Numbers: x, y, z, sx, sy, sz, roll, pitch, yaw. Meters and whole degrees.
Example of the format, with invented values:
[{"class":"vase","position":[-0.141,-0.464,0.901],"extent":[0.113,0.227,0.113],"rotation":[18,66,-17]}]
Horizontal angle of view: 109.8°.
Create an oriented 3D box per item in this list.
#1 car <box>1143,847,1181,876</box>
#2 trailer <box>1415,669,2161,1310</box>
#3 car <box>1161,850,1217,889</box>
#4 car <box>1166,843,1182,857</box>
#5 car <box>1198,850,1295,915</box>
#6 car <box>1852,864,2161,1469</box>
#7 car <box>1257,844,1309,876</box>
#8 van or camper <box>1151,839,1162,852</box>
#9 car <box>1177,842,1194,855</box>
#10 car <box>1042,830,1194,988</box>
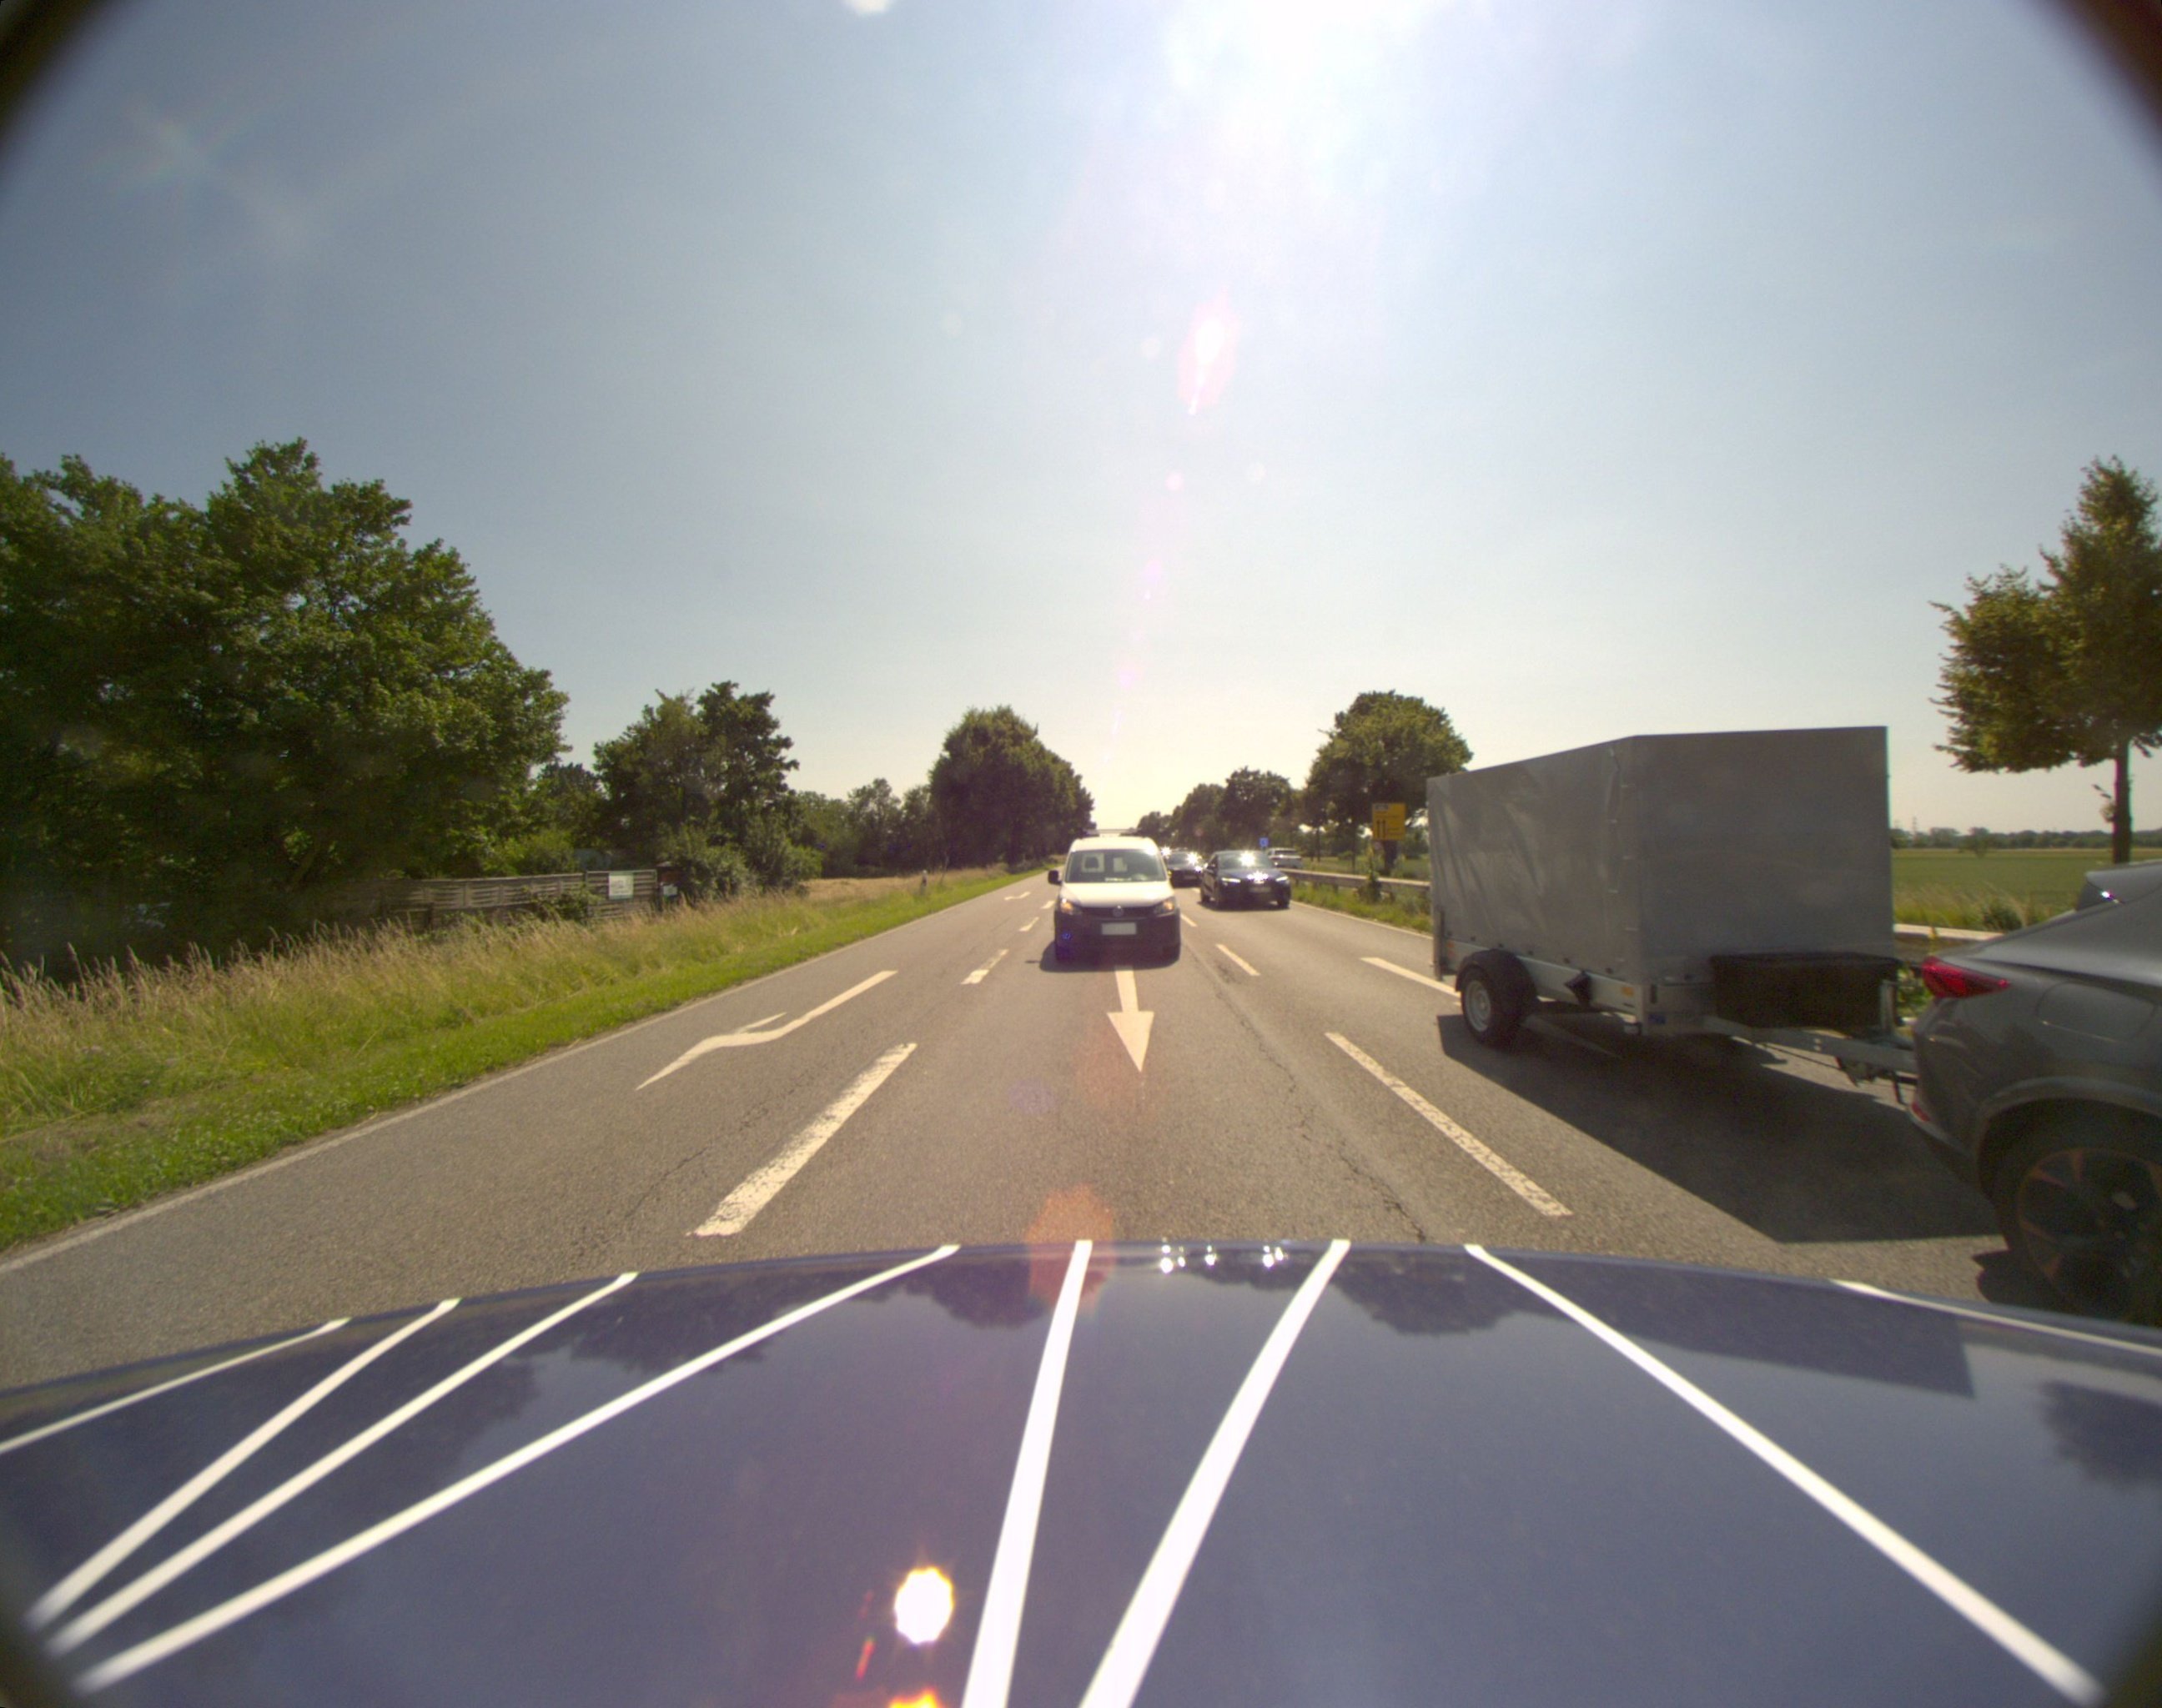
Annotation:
[{"class":"car","position":[4.586,0.408,43.527],"extent":[1.860,1.507,4.100],"rotation":[-2,1,2]},{"class":"trailer","position":[3.701,0.443,4.656],"extent":[1.504,2.160,4.174],"rotation":[-2,0,1]},{"class":"car","position":[4.357,0.584,31.205],"extent":[1.744,1.372,4.455],"rotation":[-2,1,2]},{"class":"car","position":[11.783,-0.521,96.180],"extent":[1.749,1.629,4.136],"rotation":[-1,0,3]},{"class":"car","position":[4.218,0.668,19.994],"extent":[1.721,1.456,4.030],"rotation":[-2,1,1]},{"class":"car","position":[3.576,0.802,0.498],"extent":[1.750,1.494,4.363],"rotation":[-2,0,1]},{"class":"car","position":[11.006,0.303,41.736],"extent":[1.750,1.608,4.135],"rotation":[-1,0,0]},{"class":"van or camper","position":[18.015,-1.953,181.457],"extent":[2.269,3.081,5.695],"rotation":[-1,1,0]},{"class":"car","position":[16.545,-0.846,120.976],"extent":[1.998,1.920,5.015],"rotation":[-1,0,0]},{"class":"car","position":[0.522,0.649,11.607],"extent":[1.777,1.863,4.581],"rotation":[-3,1,2]}]
